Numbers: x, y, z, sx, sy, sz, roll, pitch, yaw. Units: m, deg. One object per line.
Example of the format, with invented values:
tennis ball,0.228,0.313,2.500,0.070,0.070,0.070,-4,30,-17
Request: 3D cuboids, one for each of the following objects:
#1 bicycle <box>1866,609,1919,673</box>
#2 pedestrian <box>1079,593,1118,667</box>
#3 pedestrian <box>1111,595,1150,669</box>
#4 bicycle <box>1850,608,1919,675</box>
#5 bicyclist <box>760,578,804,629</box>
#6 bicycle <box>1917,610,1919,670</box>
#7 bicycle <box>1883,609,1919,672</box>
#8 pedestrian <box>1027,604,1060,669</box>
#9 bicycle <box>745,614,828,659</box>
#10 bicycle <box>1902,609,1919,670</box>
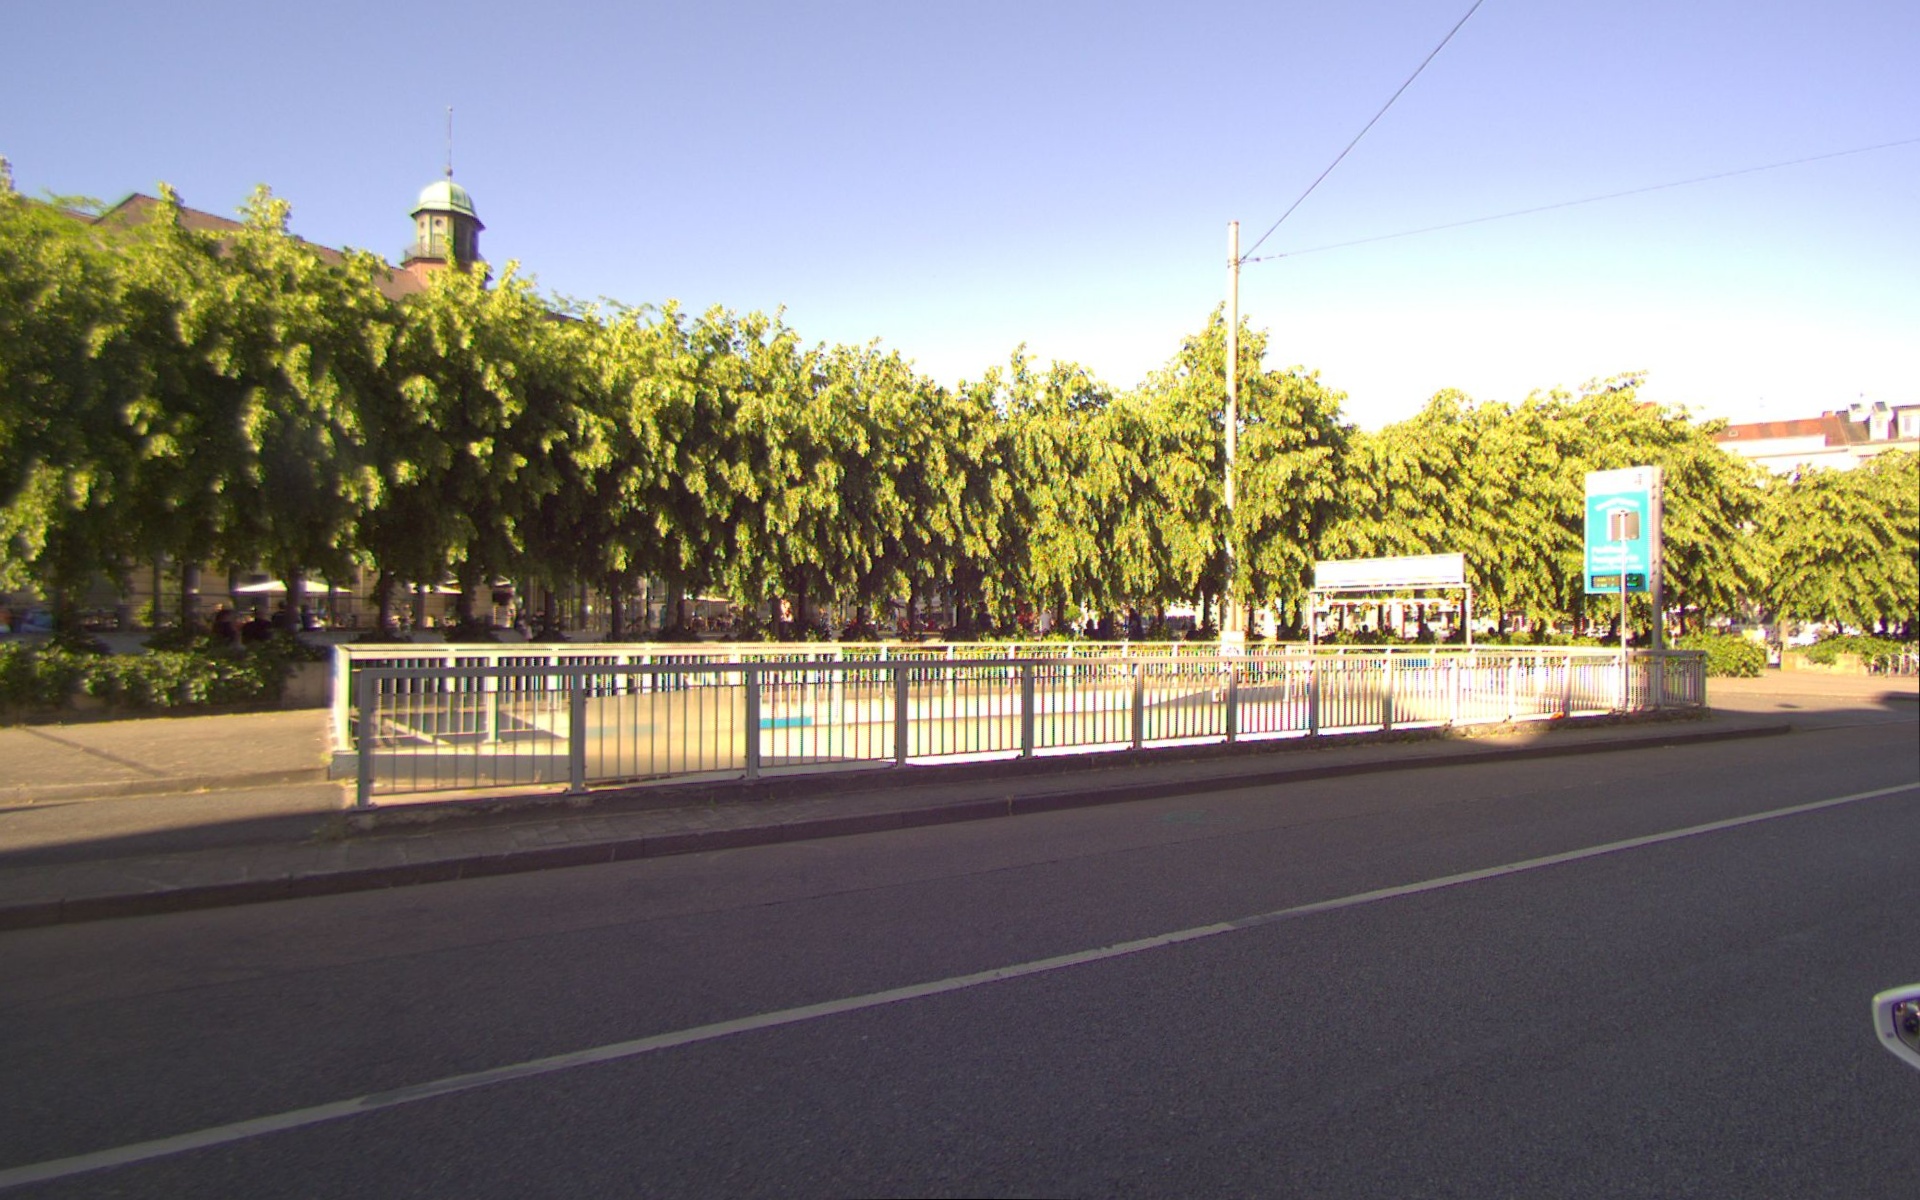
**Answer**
bicycle,30.696,1.297,31.652,0.895,2.040,3.116,1,-1,-21
pedestrian,4.042,0.876,29.347,0.949,2.136,0.734,1,0,-8
pedestrian,5.009,0.948,29.579,0.949,2.136,0.734,1,0,-8
bicycle,29.828,1.291,31.268,0.895,2.040,3.116,1,-1,-21
bicyclist,-6.165,0.138,34.771,1.199,1.722,0.958,1,-1,-36
bicycle,33.544,1.352,32.877,0.895,2.040,3.116,1,-1,-21
bicycle,31.606,1.303,32.033,0.895,2.040,3.116,1,-1,-21
pedestrian,2.770,1.214,33.471,0.949,2.136,0.734,1,0,-8
bicycle,-6.007,1.257,34.871,2.662,1.523,0.957,1,-1,-36
bicycle,32.576,1.310,32.416,0.895,2.040,3.116,1,-1,-21
